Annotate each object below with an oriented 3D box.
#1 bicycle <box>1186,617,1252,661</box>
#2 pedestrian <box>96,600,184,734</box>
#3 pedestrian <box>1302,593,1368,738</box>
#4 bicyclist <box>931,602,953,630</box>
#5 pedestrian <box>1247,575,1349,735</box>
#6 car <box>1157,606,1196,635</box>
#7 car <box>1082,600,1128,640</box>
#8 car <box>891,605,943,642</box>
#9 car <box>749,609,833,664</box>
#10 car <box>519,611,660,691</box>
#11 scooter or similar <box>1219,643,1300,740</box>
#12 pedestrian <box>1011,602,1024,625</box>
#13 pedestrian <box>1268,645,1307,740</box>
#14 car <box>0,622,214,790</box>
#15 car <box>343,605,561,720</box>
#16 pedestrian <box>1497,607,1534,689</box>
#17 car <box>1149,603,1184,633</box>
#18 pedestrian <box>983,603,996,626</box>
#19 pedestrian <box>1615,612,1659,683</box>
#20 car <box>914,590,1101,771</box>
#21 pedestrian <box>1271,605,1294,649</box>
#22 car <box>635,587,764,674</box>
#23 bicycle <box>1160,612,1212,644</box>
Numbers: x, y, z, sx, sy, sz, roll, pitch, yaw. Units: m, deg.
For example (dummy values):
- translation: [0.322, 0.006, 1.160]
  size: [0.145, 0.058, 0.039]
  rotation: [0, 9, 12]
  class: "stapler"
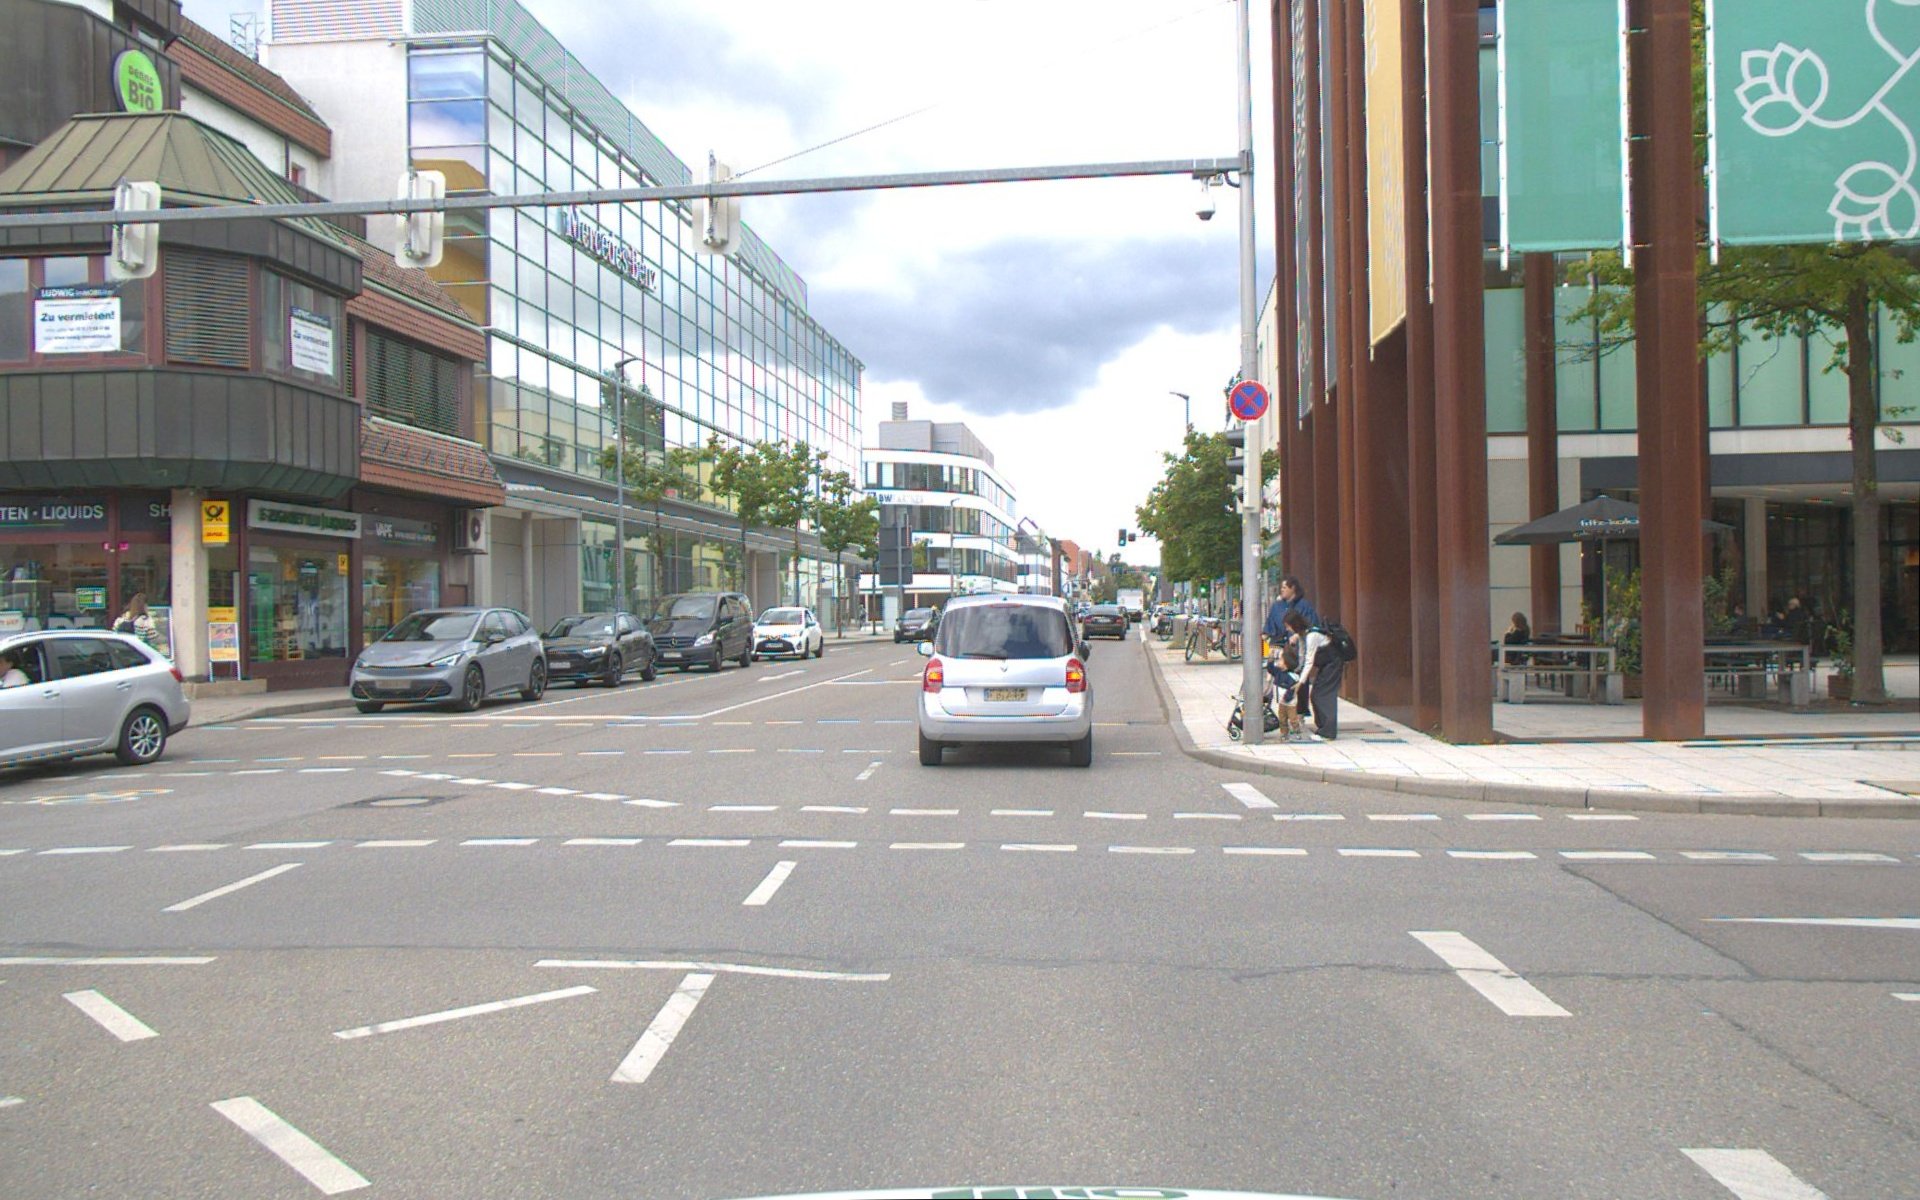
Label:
- translation: [6.163, 0.920, 39.310]
  size: [1.527, 1.010, 0.753]
  rotation: [-1, 0, 9]
  class: "bicycle"
- translation: [-10.733, 0.862, 21.680]
  size: [0.733, 1.722, 0.777]
  rotation: [-1, 0, 1]
  class: "pedestrian"
- translation: [3.800, 0.657, 16.778]
  size: [0.588, 1.445, 0.583]
  rotation: [-1, 0, 8]
  class: "pedestrian"
- translation: [-1.067, 0.962, 99.586]
  size: [0.995, 1.689, 0.924]
  rotation: [2, -1, -29]
  class: "bicyclist"
- translation: [3.662, 0.578, 17.926]
  size: [0.856, 1.675, 0.677]
  rotation: [-1, 0, 40]
  class: "pedestrian"
- translation: [10.907, 1.004, 83.358]
  size: [1.837, 1.358, 4.003]
  rotation: [1, 0, 6]
  class: "car"
- translation: [5.992, 0.815, 68.197]
  size: [1.634, 1.581, 3.645]
  rotation: [1, 0, 8]
  class: "car"
- translation: [-1.835, 0.986, 71.719]
  size: [1.625, 1.506, 4.003]
  rotation: [-2, 0, 7]
  class: "car"
- translation: [-4.942, 1.057, 48.767]
  size: [1.625, 1.491, 4.003]
  rotation: [-2, 0, 6]
  class: "car"
- translation: [-7.345, 0.972, 33.139]
  size: [1.666, 1.468, 4.002]
  rotation: [-1, 0, 4]
  class: "car"
- translation: [3.164, 0.956, 17.461]
  size: [0.623, 0.978, 0.617]
  rotation: [-1, -1, 39]
  class: "scooter or similar"
- translation: [4.742, 1.138, 137.348]
  size: [0.940, 1.865, 1.251]
  rotation: [-1, 0, 6]
  class: "pedestrian"
- translation: [3.327, 0.934, 16.825]
  size: [0.354, 0.940, 0.455]
  rotation: [-1, 0, 8]
  class: "pedestrian"
- translation: [-9.546, 1.065, 16.227]
  size: [1.600, 1.442, 4.202]
  rotation: [-3, 1, 18]
  class: "car"
- translation: [-7.846, 0.910, 26.008]
  size: [1.721, 1.543, 4.389]
  rotation: [-2, 0, 5]
  class: "car"
- translation: [8.541, 0.727, 25.441]
  size: [0.438, 1.241, 0.607]
  rotation: [-1, 0, 10]
  class: "pedestrian"
- translation: [11.176, 0.948, 89.723]
  size: [1.837, 1.535, 4.003]
  rotation: [1, 0, 6]
  class: "car"
- translation: [2.434, 1.224, 137.338]
  size: [0.940, 1.865, 1.251]
  rotation: [-1, 0, 6]
  class: "pedestrian"
- translation: [12.045, 0.832, 29.440]
  size: [0.504, 1.229, 0.796]
  rotation: [-1, 1, 4]
  class: "pedestrian"
- translation: [0.541, 0.718, 16.562]
  size: [1.634, 1.581, 3.644]
  rotation: [1, 0, 4]
  class: "car"
- translation: [12.031, 0.996, 61.752]
  size: [0.695, 1.602, 0.813]
  rotation: [-4, -1, 6]
  class: "pedestrian"
- translation: [-6.323, 0.715, 40.755]
  size: [1.826, 1.943, 5.117]
  rotation: [-2, 0, 6]
  class: "car"
- translation: [8.075, 1.004, 59.196]
  size: [1.786, 1.093, 0.753]
  rotation: [-2, -1, 4]
  class: "bicycle"
